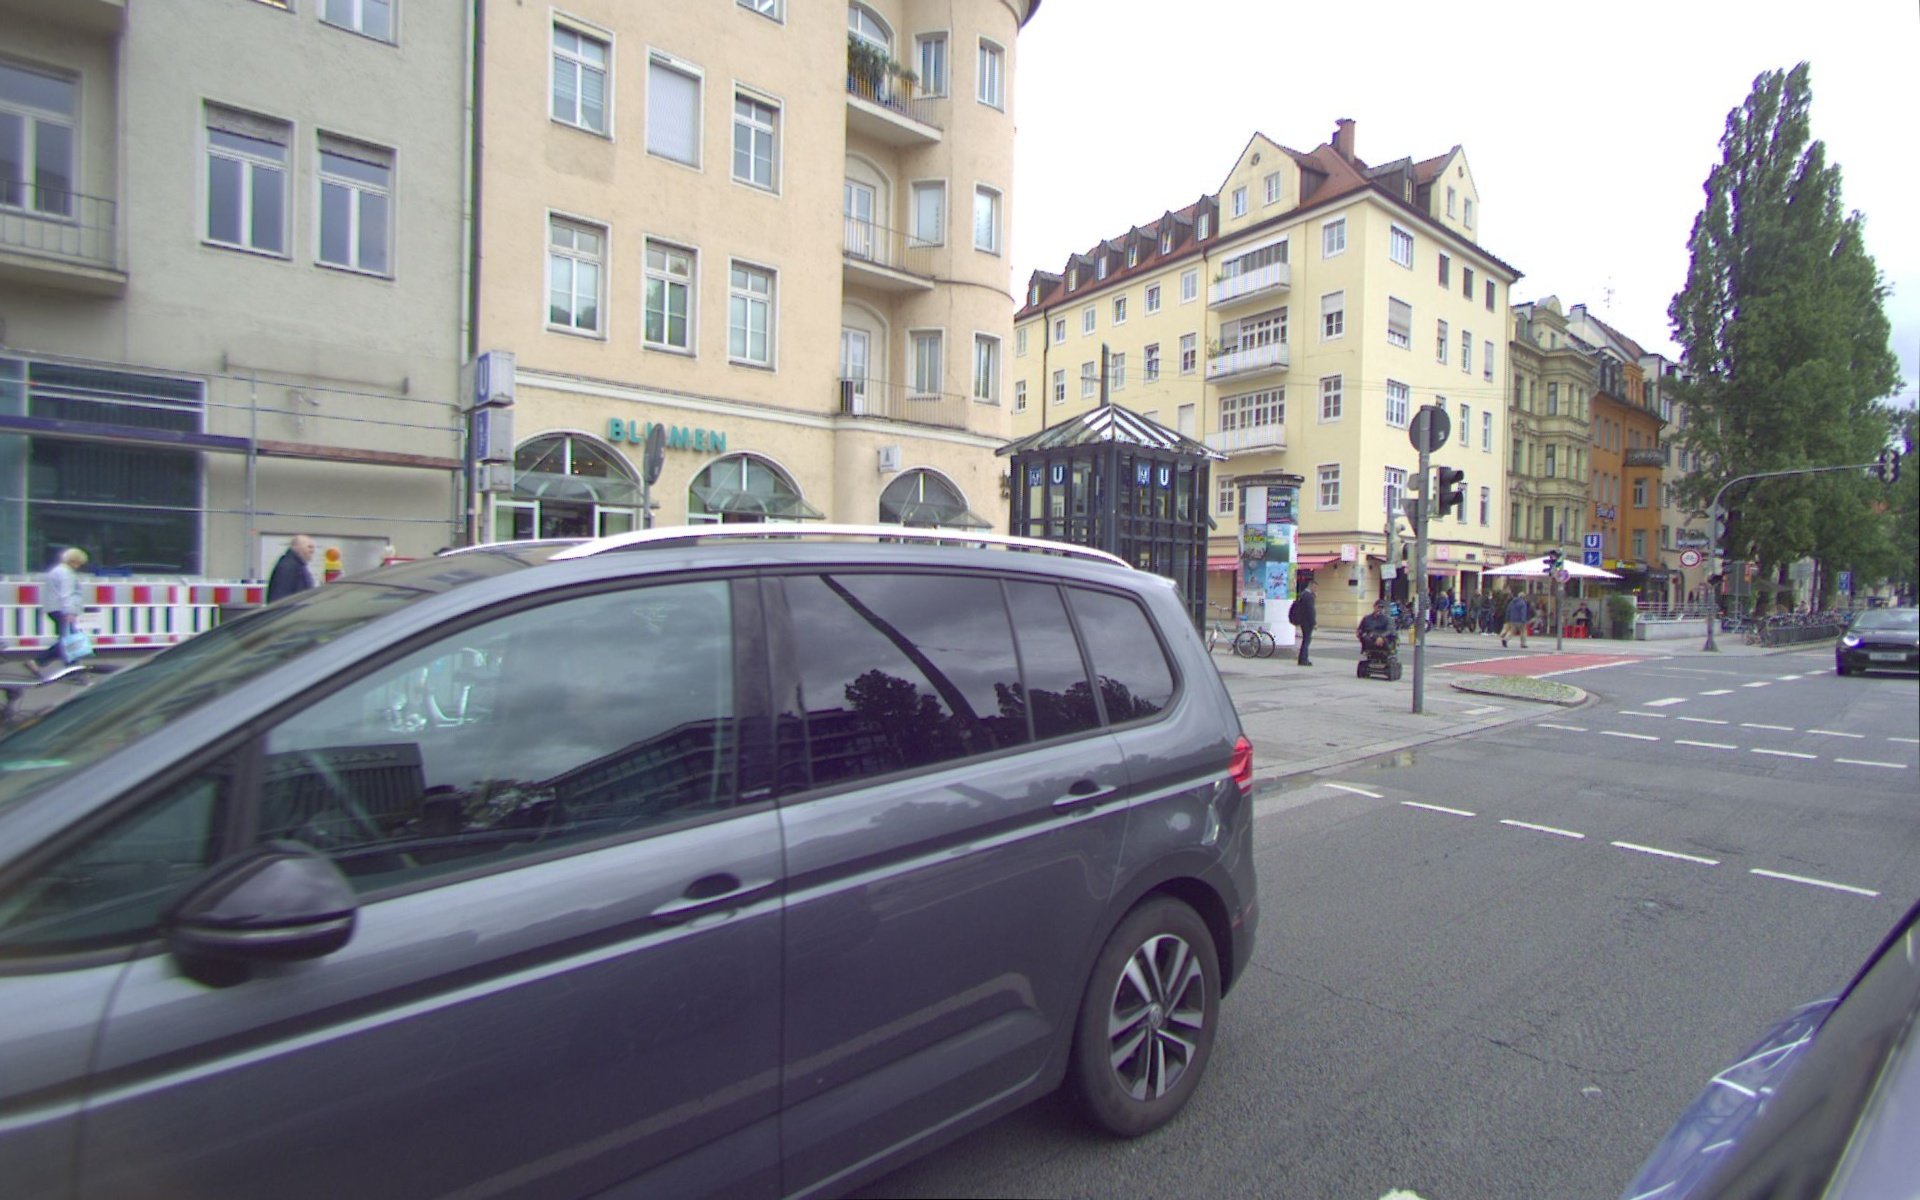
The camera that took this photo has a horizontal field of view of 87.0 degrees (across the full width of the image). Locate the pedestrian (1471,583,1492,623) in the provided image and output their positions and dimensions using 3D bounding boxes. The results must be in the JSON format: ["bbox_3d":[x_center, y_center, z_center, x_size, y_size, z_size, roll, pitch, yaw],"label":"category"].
[{"bbox_3d":[23.277,0.112,45.185,0.654,1.761,0.601,1,1,-41],"label":"pedestrian"}]

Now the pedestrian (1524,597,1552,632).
[{"bbox_3d":[22.274,0.553,38.989,0.782,1.328,0.679,0,1,-41],"label":"pedestrian"}]

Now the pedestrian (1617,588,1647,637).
[{"bbox_3d":[24.959,0.456,37.588,0.877,1.765,0.848,2,1,32],"label":"pedestrian"}]

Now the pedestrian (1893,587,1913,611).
[{"bbox_3d":[65.982,-0.047,70.820,0.743,1.658,0.700,1,-1,6],"label":"pedestrian"}]

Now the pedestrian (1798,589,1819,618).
[{"bbox_3d":[47.202,0.202,56.300,0.749,1.582,0.761,1,0,-40],"label":"pedestrian"}]

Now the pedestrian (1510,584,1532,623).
[{"bbox_3d":[24.021,0.157,43.348,0.666,1.653,0.616,1,1,-41],"label":"pedestrian"}]

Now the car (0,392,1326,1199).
[{"bbox_3d":[-1.159,0.564,2.384,4.626,1.667,1.775,0,1,-41],"label":"car"}]

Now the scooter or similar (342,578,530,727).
[{"bbox_3d":[-4.330,0.435,8.418,1.319,1.190,0.365,1,1,-11],"label":"scooter or similar"}]

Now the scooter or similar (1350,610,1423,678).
[{"bbox_3d":[7.420,0.738,17.582,0.775,1.088,1.237,2,1,43],"label":"scooter or similar"}]

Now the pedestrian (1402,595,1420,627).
[{"bbox_3d":[19.218,0.470,43.119,0.518,1.315,0.479,1,1,-43],"label":"pedestrian"}]

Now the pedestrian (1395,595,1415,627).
[{"bbox_3d":[18.607,0.443,42.355,0.691,1.308,0.515,1,1,-43],"label":"pedestrian"}]

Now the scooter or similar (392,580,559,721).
[{"bbox_3d":[-4.186,0.437,8.787,1.251,1.190,0.302,1,1,-11],"label":"scooter or similar"}]

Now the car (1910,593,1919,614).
[{"bbox_3d":[77.093,0.336,80.634,4.425,1.681,1.735,1,1,-43],"label":"car"}]

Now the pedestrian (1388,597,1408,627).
[{"bbox_3d":[18.062,0.480,41.702,0.691,1.197,0.515,1,1,-43],"label":"pedestrian"}]

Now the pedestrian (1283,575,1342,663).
[{"bbox_3d":[7.076,0.361,20.354,0.803,1.712,0.838,1,1,-4],"label":"pedestrian"}]

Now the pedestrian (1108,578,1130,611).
[{"bbox_3d":[8.327,-0.283,52.968,0.690,1.704,0.854,1,1,-31],"label":"pedestrian"}]

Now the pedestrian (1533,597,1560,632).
[{"bbox_3d":[22.929,0.556,39.567,0.782,1.328,0.679,0,1,-41],"label":"pedestrian"}]

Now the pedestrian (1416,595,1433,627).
[{"bbox_3d":[19.612,0.460,42.751,0.518,1.315,0.479,1,1,-43],"label":"pedestrian"}]

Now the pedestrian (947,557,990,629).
[{"bbox_3d":[0.199,-0.177,24.513,0.745,1.727,0.671,2,1,45],"label":"pedestrian"}]

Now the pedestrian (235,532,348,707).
[{"bbox_3d":[-6.966,0.188,10.592,0.742,1.749,0.817,2,1,-16],"label":"pedestrian"}]

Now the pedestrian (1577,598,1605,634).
[{"bbox_3d":[23.857,0.593,38.269,0.782,1.327,0.679,0,1,-41],"label":"pedestrian"}]

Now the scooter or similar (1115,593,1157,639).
[{"bbox_3d":[4.111,0.372,23.693,0.581,1.007,0.824,4,-1,-19],"label":"scooter or similar"}]

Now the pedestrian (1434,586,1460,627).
[{"bbox_3d":[20.373,0.270,42.371,0.773,1.653,0.711,1,1,-41],"label":"pedestrian"}]

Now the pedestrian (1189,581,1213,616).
[{"bbox_3d":[11.106,-0.075,46.622,0.754,1.605,0.760,1,1,-37],"label":"pedestrian"}]

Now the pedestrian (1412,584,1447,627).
[{"bbox_3d":[18.857,0.219,40.675,1.021,1.704,0.838,1,1,4],"label":"pedestrian"}]

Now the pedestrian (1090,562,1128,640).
[{"bbox_3d":[3.366,0.020,22.916,0.550,1.692,0.568,4,-1,-19],"label":"pedestrian"}]

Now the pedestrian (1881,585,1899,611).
[{"bbox_3d":[65.201,-0.155,70.956,0.638,1.803,0.702,1,-1,-8],"label":"pedestrian"}]

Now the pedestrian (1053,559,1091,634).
[{"bbox_3d":[2.671,-0.068,24.075,0.638,1.727,0.728,4,-1,19],"label":"pedestrian"}]

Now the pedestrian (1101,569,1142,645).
[{"bbox_3d":[3.895,0.171,24.404,0.623,1.774,0.652,4,-1,-19],"label":"pedestrian"}]

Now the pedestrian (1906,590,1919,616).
[{"bbox_3d":[67.253,0.216,71.192,0.741,1.824,0.883,2,-1,-31],"label":"pedestrian"}]

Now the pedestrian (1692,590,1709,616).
[{"bbox_3d":[51.395,0.192,70.257,0.999,1.735,0.747,1,1,-41],"label":"pedestrian"}]

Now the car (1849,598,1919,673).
[{"bbox_3d":[21.294,0.744,22.563,3.902,1.523,1.778,-1,0,-42],"label":"car"}]

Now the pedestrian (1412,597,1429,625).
[{"bbox_3d":[19.926,0.467,43.802,0.518,1.180,0.479,1,1,-43],"label":"pedestrian"}]

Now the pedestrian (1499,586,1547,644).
[{"bbox_3d":[17.807,0.474,32.000,1.045,1.777,0.937,1,1,-35],"label":"pedestrian"}]

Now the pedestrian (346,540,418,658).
[{"bbox_3d":[-8.570,-0.026,14.994,0.745,1.671,0.752,1,2,-43],"label":"pedestrian"}]

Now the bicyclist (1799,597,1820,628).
[{"bbox_3d":[45.249,0.646,53.895,0.923,1.623,0.681,1,1,-41],"label":"bicyclist"}]

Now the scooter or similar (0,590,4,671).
[{"bbox_3d":[-12.167,0.367,12.055,1.106,0.955,0.536,1,2,-43],"label":"scooter or similar"}]

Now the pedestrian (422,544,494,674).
[{"bbox_3d":[-6.778,0.111,13.664,0.708,1.691,0.659,1,2,-38],"label":"pedestrian"}]

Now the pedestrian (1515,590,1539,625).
[{"bbox_3d":[23.808,0.295,42.478,0.606,1.440,0.677,1,1,-41],"label":"pedestrian"}]

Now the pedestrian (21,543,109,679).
[{"bbox_3d":[-10.584,0.113,11.971,0.745,1.536,0.779,1,2,-43],"label":"pedestrian"}]

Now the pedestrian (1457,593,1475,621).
[{"bbox_3d":[23.621,0.326,47.262,0.543,1.305,0.542,1,1,-41],"label":"pedestrian"}]

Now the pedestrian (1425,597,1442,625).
[{"bbox_3d":[20.324,0.464,43.446,0.518,1.180,0.479,1,1,-43],"label":"pedestrian"}]

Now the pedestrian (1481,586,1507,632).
[{"bbox_3d":[20.165,0.327,38.224,0.752,1.716,0.762,2,1,23],"label":"pedestrian"}]
